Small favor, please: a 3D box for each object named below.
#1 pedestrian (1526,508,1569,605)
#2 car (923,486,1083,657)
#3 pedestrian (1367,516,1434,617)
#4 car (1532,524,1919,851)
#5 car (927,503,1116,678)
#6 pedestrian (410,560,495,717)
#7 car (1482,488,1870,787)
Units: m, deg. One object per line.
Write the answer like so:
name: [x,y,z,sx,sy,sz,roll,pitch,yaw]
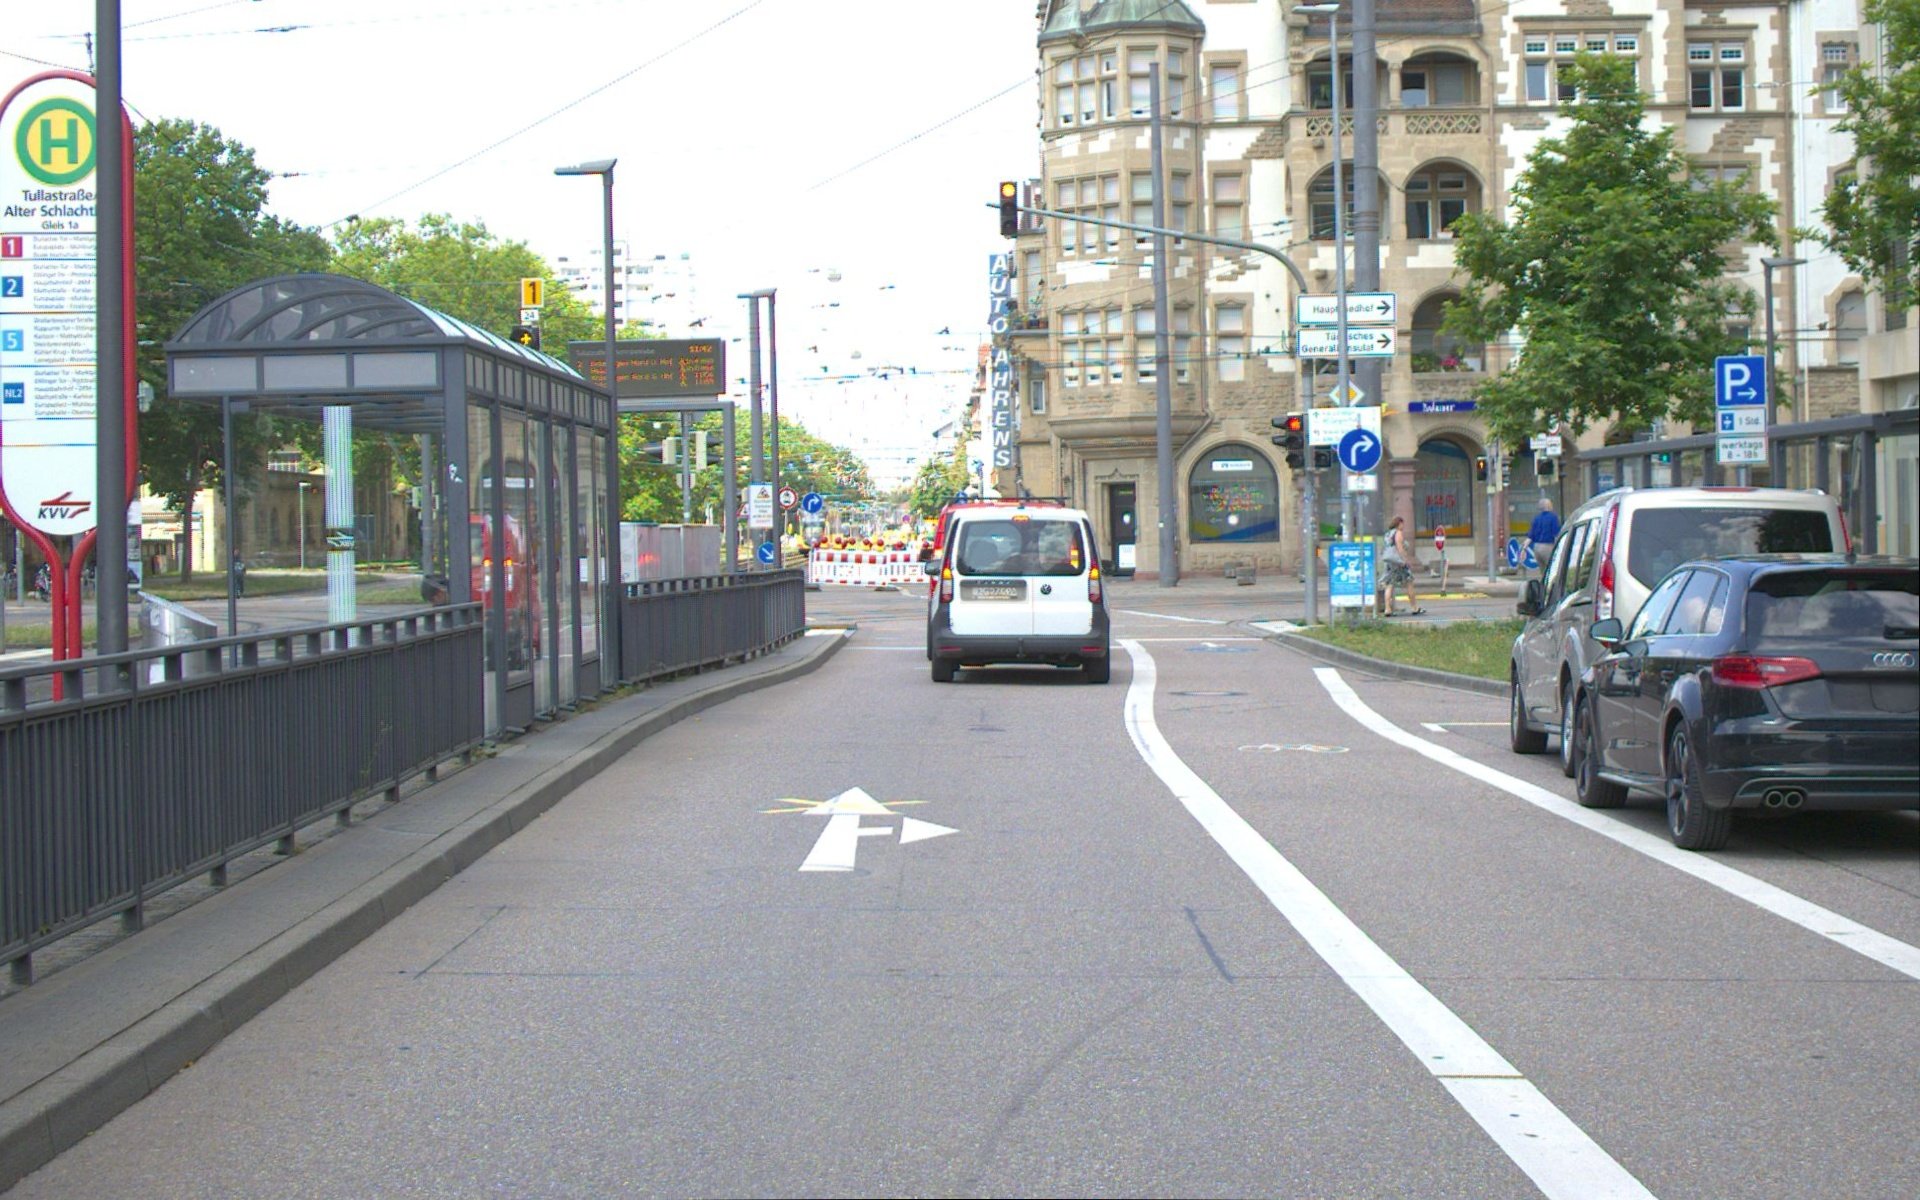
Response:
pedestrian: [9.702,-0.723,56.770,0.534,1.567,0.542,-3,1,-2]
car: [0.483,-0.375,42.450,1.868,2.013,4.000,0,1,-1]
pedestrian: [7.040,-0.533,54.915,0.805,1.567,0.629,-3,1,-16]
car: [4.079,0.357,17.655,1.443,1.465,4.093,1,1,-2]
car: [0.595,-0.140,36.250,1.868,1.740,4.000,0,1,-1]
pedestrian: [-3.800,0.285,25.768,0.513,1.136,0.501,-3,1,0]
car: [4.601,0.188,22.542,1.709,1.790,3.362,1,1,-2]
